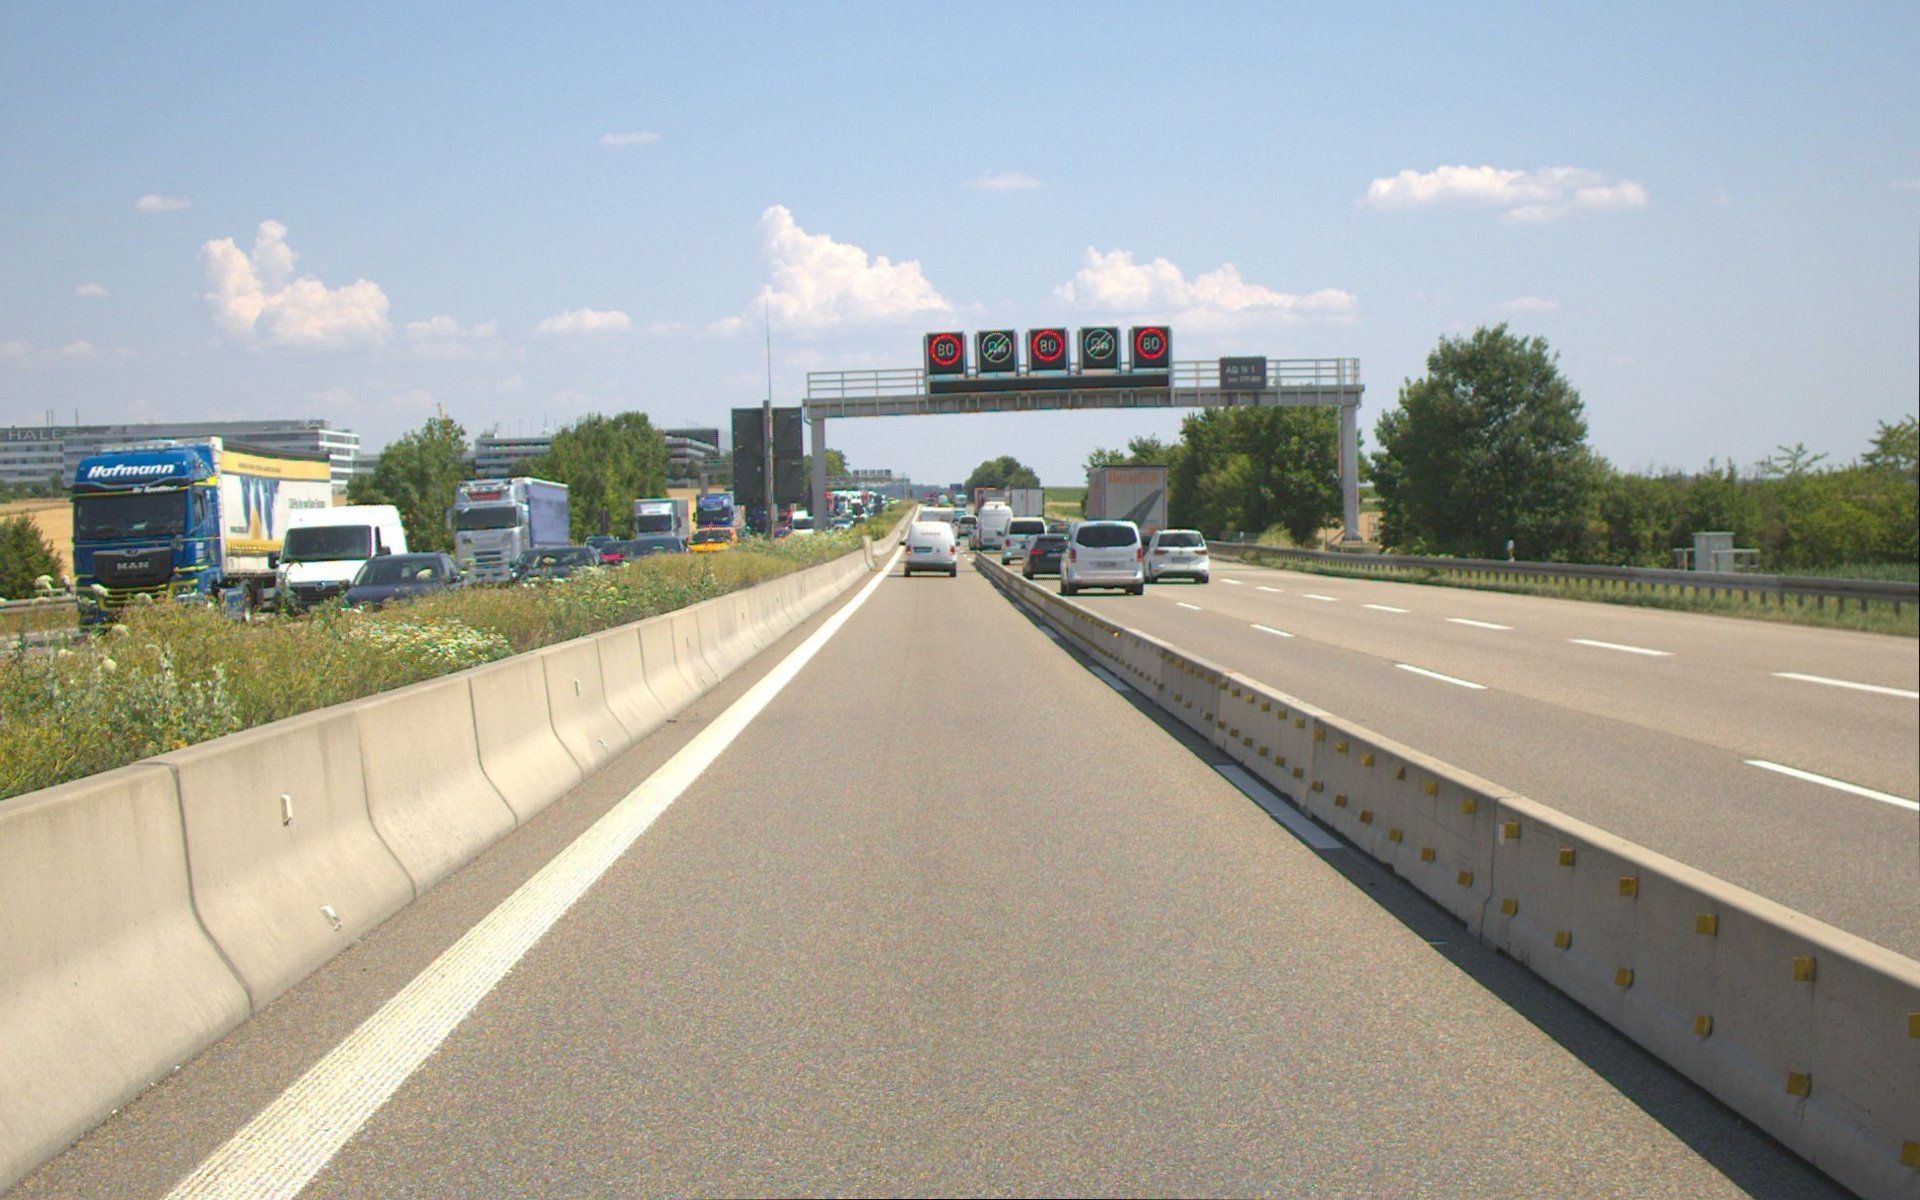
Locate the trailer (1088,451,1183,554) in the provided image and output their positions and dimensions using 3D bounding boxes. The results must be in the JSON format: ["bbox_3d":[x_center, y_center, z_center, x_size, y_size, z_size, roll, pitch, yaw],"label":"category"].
[{"bbox_3d":[7.058,-3.886,139.280,3.277,3.953,9.113,-1,1,-1],"label":"trailer"}]

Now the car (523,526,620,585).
[{"bbox_3d":[-9.026,-1.022,80.149,1.779,1.330,4.930,0,0,-1],"label":"car"}]

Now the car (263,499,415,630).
[{"bbox_3d":[-12.546,-0.767,69.833,2.046,2.492,5.813,-2,1,-1],"label":"car"}]

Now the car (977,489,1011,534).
[{"bbox_3d":[1.853,-4.831,188.668,1.773,2.384,4.000,-1,1,-1],"label":"car"}]

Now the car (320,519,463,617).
[{"bbox_3d":[-9.122,-0.546,55.455,1.597,1.464,4.534,-2,1,-1],"label":"car"}]

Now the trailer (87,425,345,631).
[{"bbox_3d":[-16.348,-1.636,76.803,2.809,4.114,14.131,-2,1,-1],"label":"trailer"}]

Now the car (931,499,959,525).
[{"bbox_3d":[-1.095,-6.435,250.819,1.993,1.829,4.000,0,1,0],"label":"car"}]

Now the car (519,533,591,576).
[{"bbox_3d":[-12.376,-1.374,105.319,1.747,1.262,4.434,0,0,-1],"label":"car"}]

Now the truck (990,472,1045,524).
[{"bbox_3d":[4.398,-7.827,264.694,3.815,3.891,9.581,-1,1,-1],"label":"truck"}]

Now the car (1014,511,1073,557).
[{"bbox_3d":[2.702,-2.144,111.583,1.773,1.442,4.000,-1,1,-1],"label":"car"}]

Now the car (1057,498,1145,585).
[{"bbox_3d":[3.533,-1.468,86.639,1.993,2.112,4.000,-1,1,-1],"label":"car"}]

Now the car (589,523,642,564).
[{"bbox_3d":[-13.114,-2.157,131.059,1.588,1.503,4.229,-1,1,0],"label":"car"}]

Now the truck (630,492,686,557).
[{"bbox_3d":[-17.411,-4.371,198.471,2.698,3.575,4.000,-3,1,1],"label":"truck"}]

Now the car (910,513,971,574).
[{"bbox_3d":[-0.675,-1.893,115.298,1.993,2.007,4.000,-1,1,-1],"label":"car"}]

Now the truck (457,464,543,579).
[{"bbox_3d":[-16.738,-2.867,125.365,2.411,4.072,4.660,-1,1,0],"label":"truck"}]

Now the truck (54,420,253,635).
[{"bbox_3d":[-16.215,-1.481,69.443,2.809,4.114,4.842,-2,1,-1],"label":"truck"}]

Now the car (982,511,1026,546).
[{"bbox_3d":[1.863,-3.013,145.943,1.773,1.442,4.000,-1,1,-1],"label":"car"}]

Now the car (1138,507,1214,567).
[{"bbox_3d":[6.553,-1.905,104.487,1.993,1.788,4.000,-1,1,-1],"label":"car"}]
